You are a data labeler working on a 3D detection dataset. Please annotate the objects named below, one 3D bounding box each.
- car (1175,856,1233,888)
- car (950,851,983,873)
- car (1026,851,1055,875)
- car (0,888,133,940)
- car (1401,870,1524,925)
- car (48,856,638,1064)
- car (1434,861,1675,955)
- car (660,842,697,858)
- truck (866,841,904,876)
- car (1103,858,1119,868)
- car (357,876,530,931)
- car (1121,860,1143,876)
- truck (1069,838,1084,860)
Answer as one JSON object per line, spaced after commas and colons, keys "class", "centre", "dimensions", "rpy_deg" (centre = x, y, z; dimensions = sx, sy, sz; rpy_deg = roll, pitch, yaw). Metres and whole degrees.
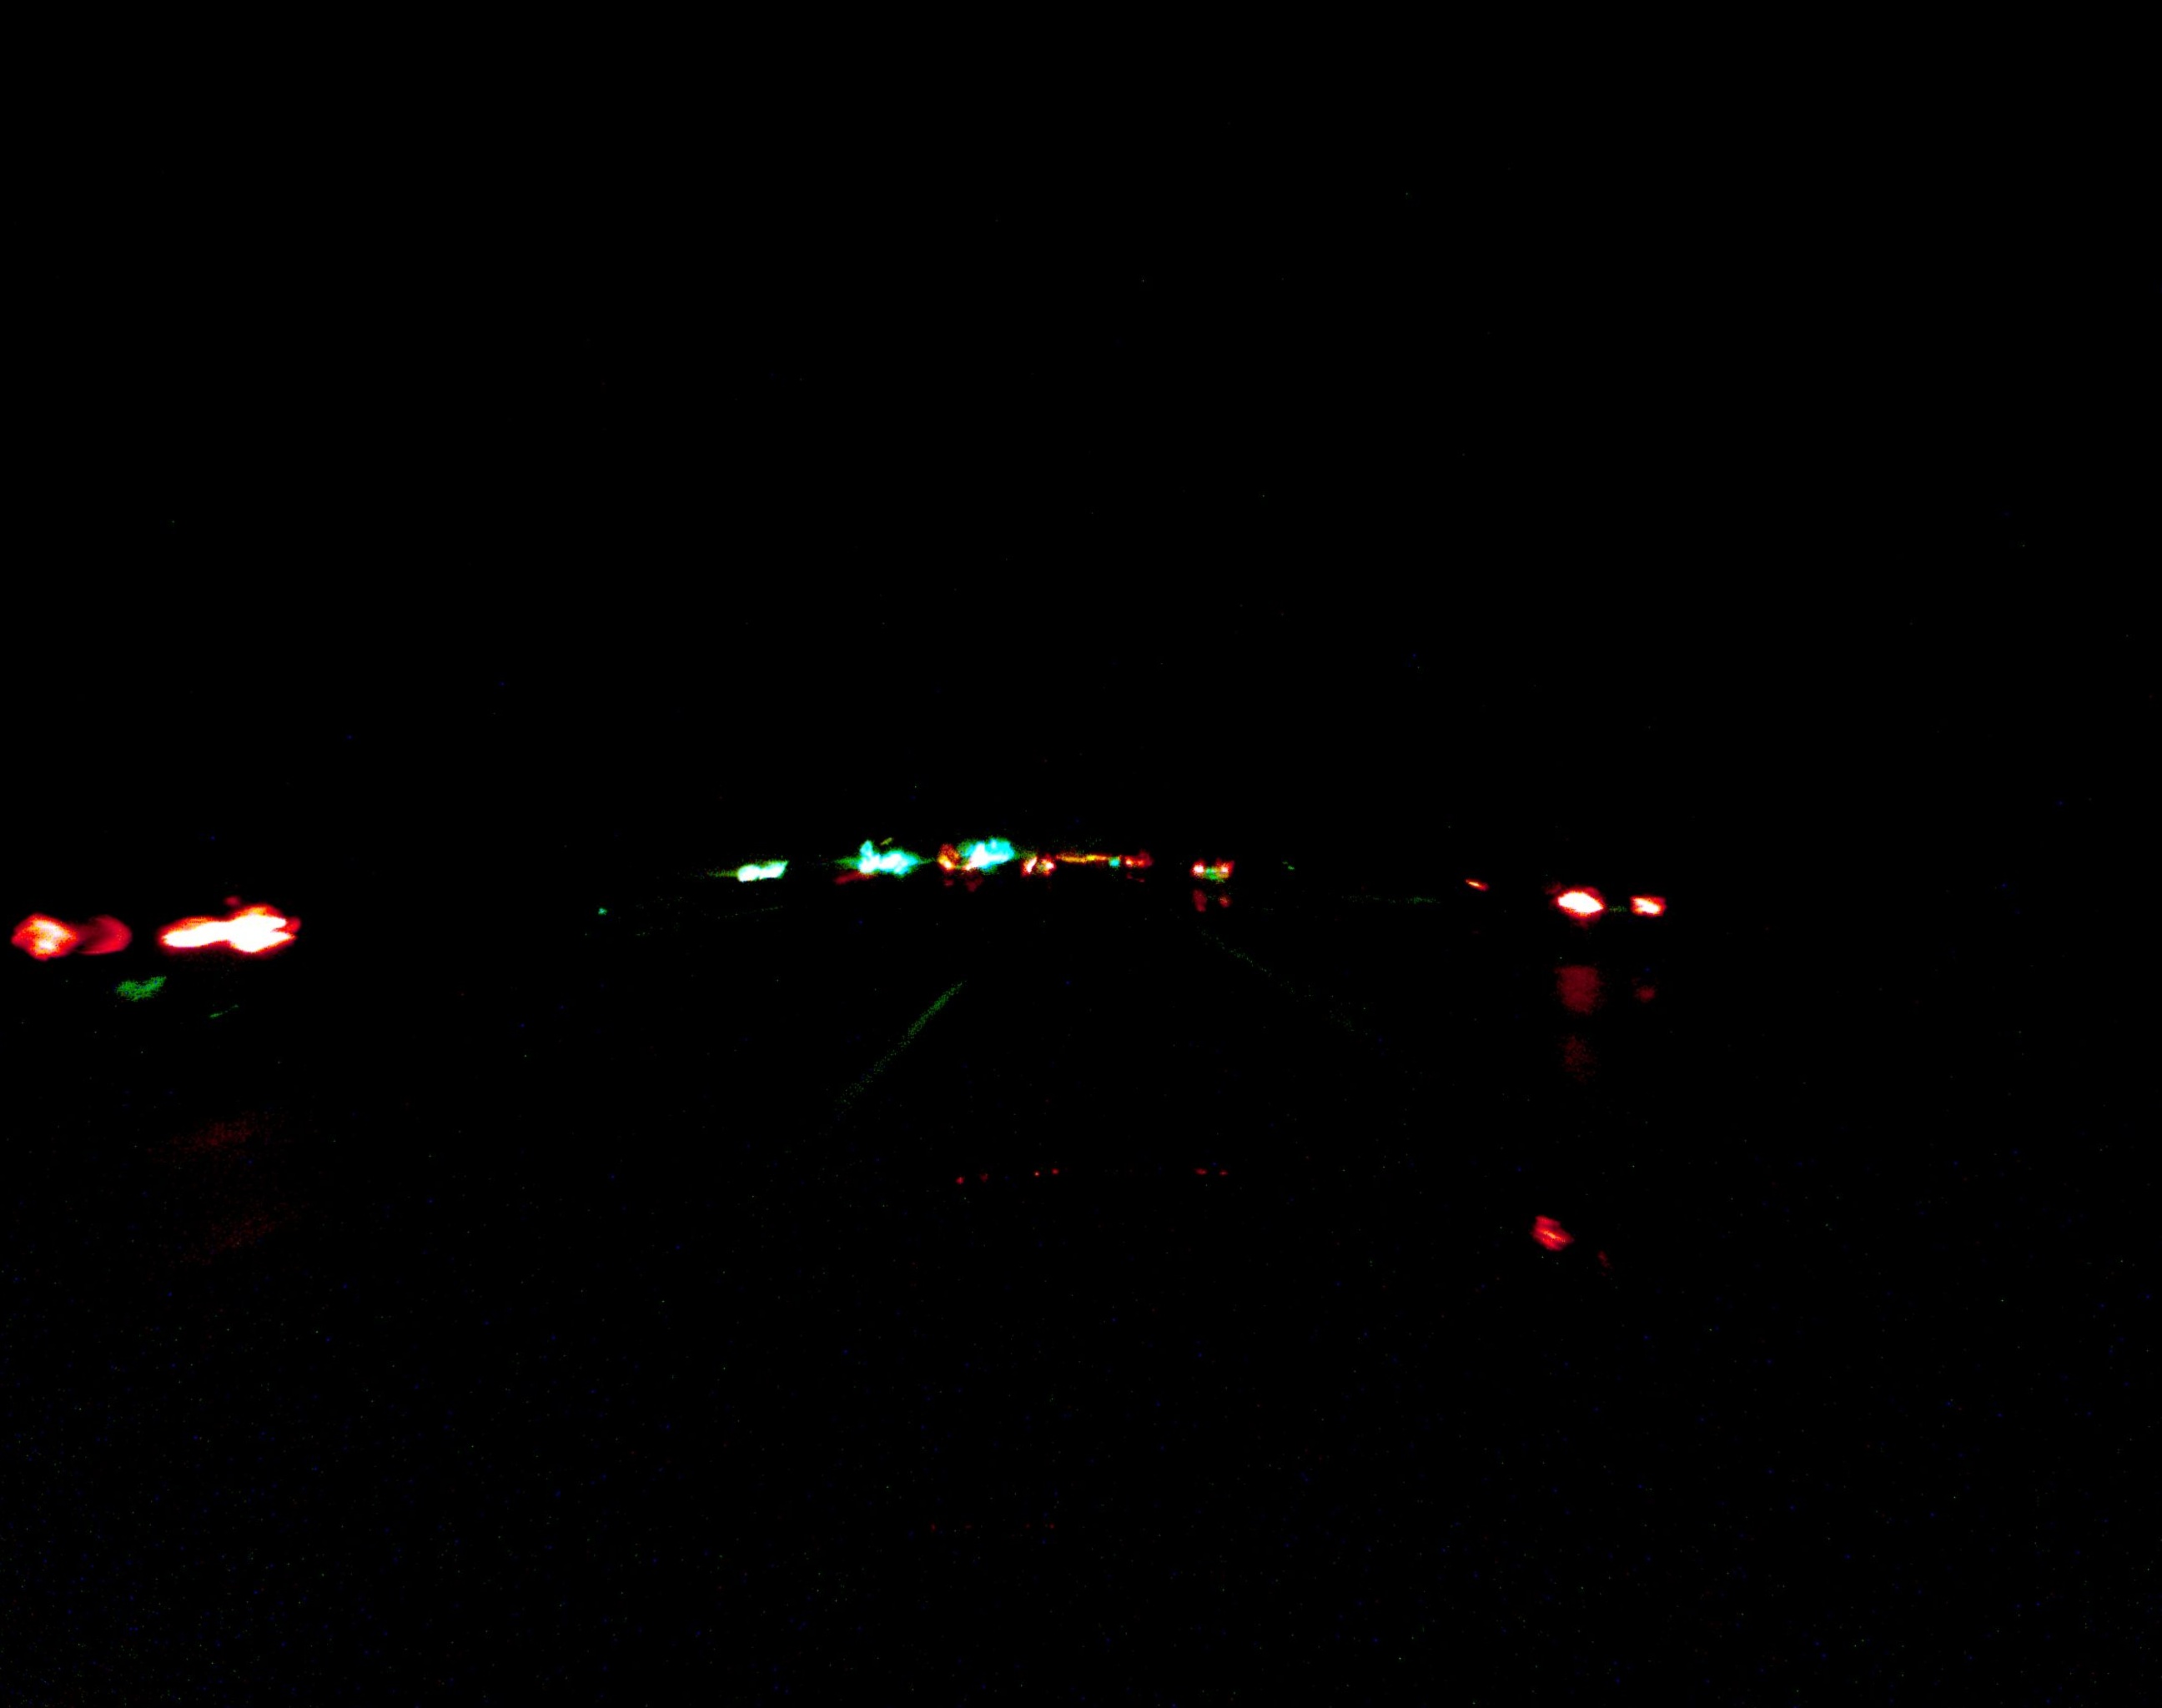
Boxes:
{"class": "car", "centre": [6.330, 0.899, 42.572], "dimensions": [2.053, 1.519, 5.011], "rpy_deg": [2, 0, -2]}
{"class": "car", "centre": [-7.300, 0.527, 52.274], "dimensions": [1.658, 1.236, 3.758], "rpy_deg": [-3, -1, -2]}
{"class": "car", "centre": [-2.678, 0.576, 54.702], "dimensions": [1.796, 1.487, 3.999], "rpy_deg": [1, 0, -1]}
{"class": "car", "centre": [-28.847, 1.655, 22.202], "dimensions": [1.609, 1.299, 3.702], "rpy_deg": [-3, -1, 1]}
{"class": "car", "centre": [11.749, 1.291, 25.403], "dimensions": [1.716, 1.497, 4.037], "rpy_deg": [0, 0, -5]}
{"class": "car", "centre": [-6.862, 0.808, 8.532], "dimensions": [1.852, 1.541, 4.749], "rpy_deg": [0, 0, 0]}
{"class": "car", "centre": [8.515, 0.891, 15.196], "dimensions": [1.987, 1.449, 4.334], "rpy_deg": [0, 0, 0]}
{"class": "car", "centre": [-46.283, -0.435, 93.782], "dimensions": [1.778, 1.787, 4.276], "rpy_deg": [1, 0, 5]}
{"class": "truck", "centre": [-24.009, 0.639, 100.141], "dimensions": [2.805, 4.006, 7.345], "rpy_deg": [-3, -1, -1]}
{"class": "car", "centre": [3.566, 1.092, 97.582], "dimensions": [1.578, 1.246, 3.063], "rpy_deg": [0, -1, -4]}
{"class": "car", "centre": [-17.921, 1.338, 23.159], "dimensions": [1.661, 1.299, 4.000], "rpy_deg": [-3, -1, 1]}
{"class": "car", "centre": [4.804, 1.294, 76.819], "dimensions": [1.578, 1.245, 3.065], "rpy_deg": [2, 2, -4]}
{"class": "truck", "centre": [-0.633, -0.757, 123.441], "dimensions": [1.986, 3.043, 6.465], "rpy_deg": [-3, -1, 1]}
